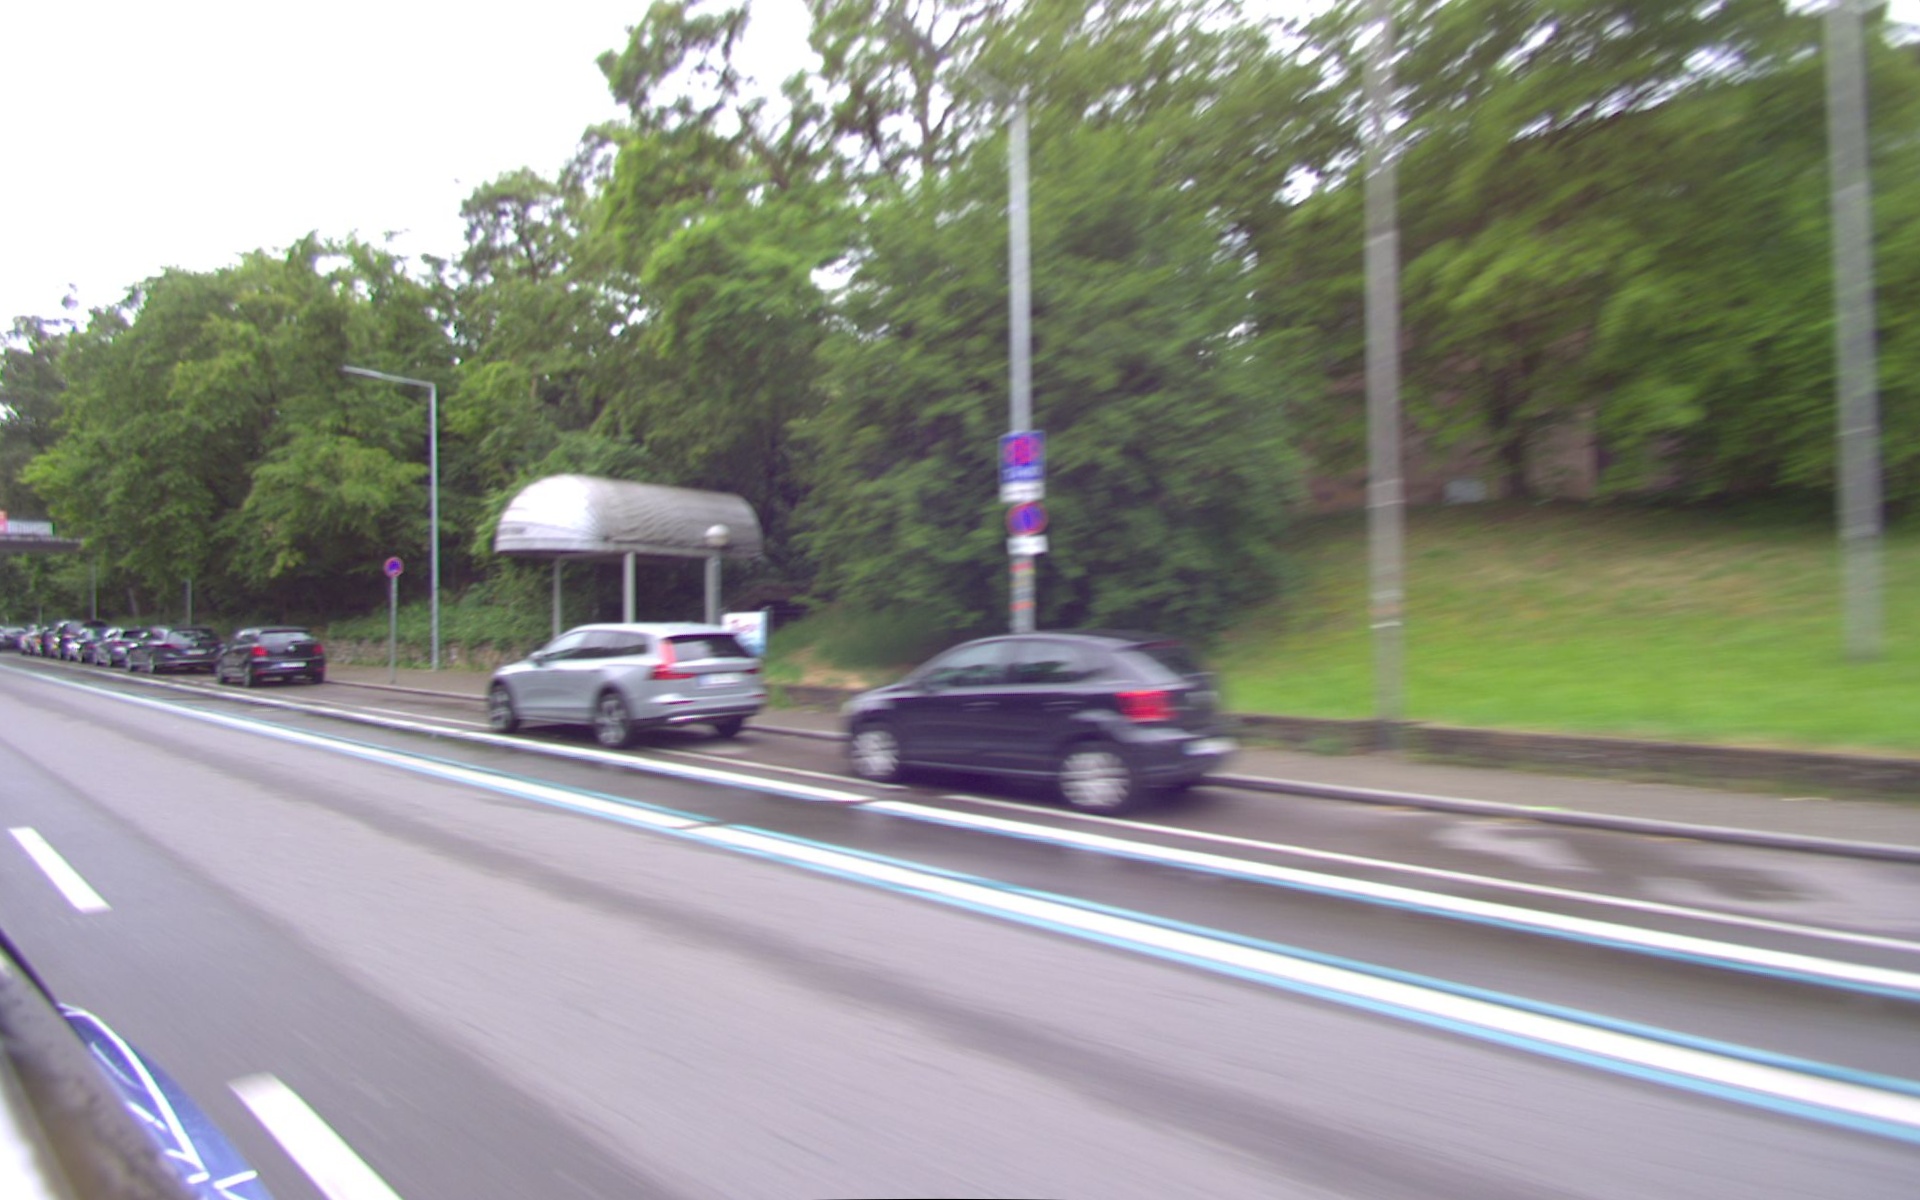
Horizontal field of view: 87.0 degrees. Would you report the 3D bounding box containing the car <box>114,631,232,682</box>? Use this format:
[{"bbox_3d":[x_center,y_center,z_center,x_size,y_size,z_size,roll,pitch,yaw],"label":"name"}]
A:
[{"bbox_3d":[-24.823,1.732,31.864,4.752,1.474,1.936,-2,-2,40],"label":"car"}]

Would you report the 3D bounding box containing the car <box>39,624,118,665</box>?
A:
[{"bbox_3d":[-39.337,1.975,45.122,4.835,1.755,1.970,-2,-2,41],"label":"car"}]

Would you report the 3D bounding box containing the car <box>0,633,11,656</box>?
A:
[{"bbox_3d":[-62.648,2.875,65.157,3.978,1.493,1.771,-2,-3,40],"label":"car"}]

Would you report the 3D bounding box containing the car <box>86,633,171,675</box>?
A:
[{"bbox_3d":[-30.451,1.949,37.027,4.294,1.434,1.765,-2,-2,42],"label":"car"}]

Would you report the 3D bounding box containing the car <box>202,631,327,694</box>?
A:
[{"bbox_3d":[-17.768,1.542,25.801,3.990,1.468,1.653,-2,-2,41],"label":"car"}]

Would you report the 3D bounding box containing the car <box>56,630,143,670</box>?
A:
[{"bbox_3d":[-35.092,2.035,41.242,4.894,1.484,1.963,-2,-1,41],"label":"car"}]

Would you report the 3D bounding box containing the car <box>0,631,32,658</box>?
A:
[{"bbox_3d":[-54.936,2.573,58.150,4.035,1.488,1.813,-2,-2,39],"label":"car"}]

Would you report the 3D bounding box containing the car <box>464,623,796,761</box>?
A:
[{"bbox_3d":[-4.521,1.089,13.502,4.669,1.493,2.056,-2,-1,40],"label":"car"}]

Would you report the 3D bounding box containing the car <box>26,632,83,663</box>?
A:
[{"bbox_3d":[-43.460,2.268,48.542,3.842,1.450,1.592,-2,-2,42],"label":"car"}]

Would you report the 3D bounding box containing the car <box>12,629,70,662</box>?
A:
[{"bbox_3d":[-46.796,2.306,51.521,4.230,1.558,1.670,-2,-2,41],"label":"car"}]

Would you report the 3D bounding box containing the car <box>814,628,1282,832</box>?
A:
[{"bbox_3d":[0.642,1.018,9.276,4.051,1.448,1.678,-2,-2,41],"label":"car"}]
